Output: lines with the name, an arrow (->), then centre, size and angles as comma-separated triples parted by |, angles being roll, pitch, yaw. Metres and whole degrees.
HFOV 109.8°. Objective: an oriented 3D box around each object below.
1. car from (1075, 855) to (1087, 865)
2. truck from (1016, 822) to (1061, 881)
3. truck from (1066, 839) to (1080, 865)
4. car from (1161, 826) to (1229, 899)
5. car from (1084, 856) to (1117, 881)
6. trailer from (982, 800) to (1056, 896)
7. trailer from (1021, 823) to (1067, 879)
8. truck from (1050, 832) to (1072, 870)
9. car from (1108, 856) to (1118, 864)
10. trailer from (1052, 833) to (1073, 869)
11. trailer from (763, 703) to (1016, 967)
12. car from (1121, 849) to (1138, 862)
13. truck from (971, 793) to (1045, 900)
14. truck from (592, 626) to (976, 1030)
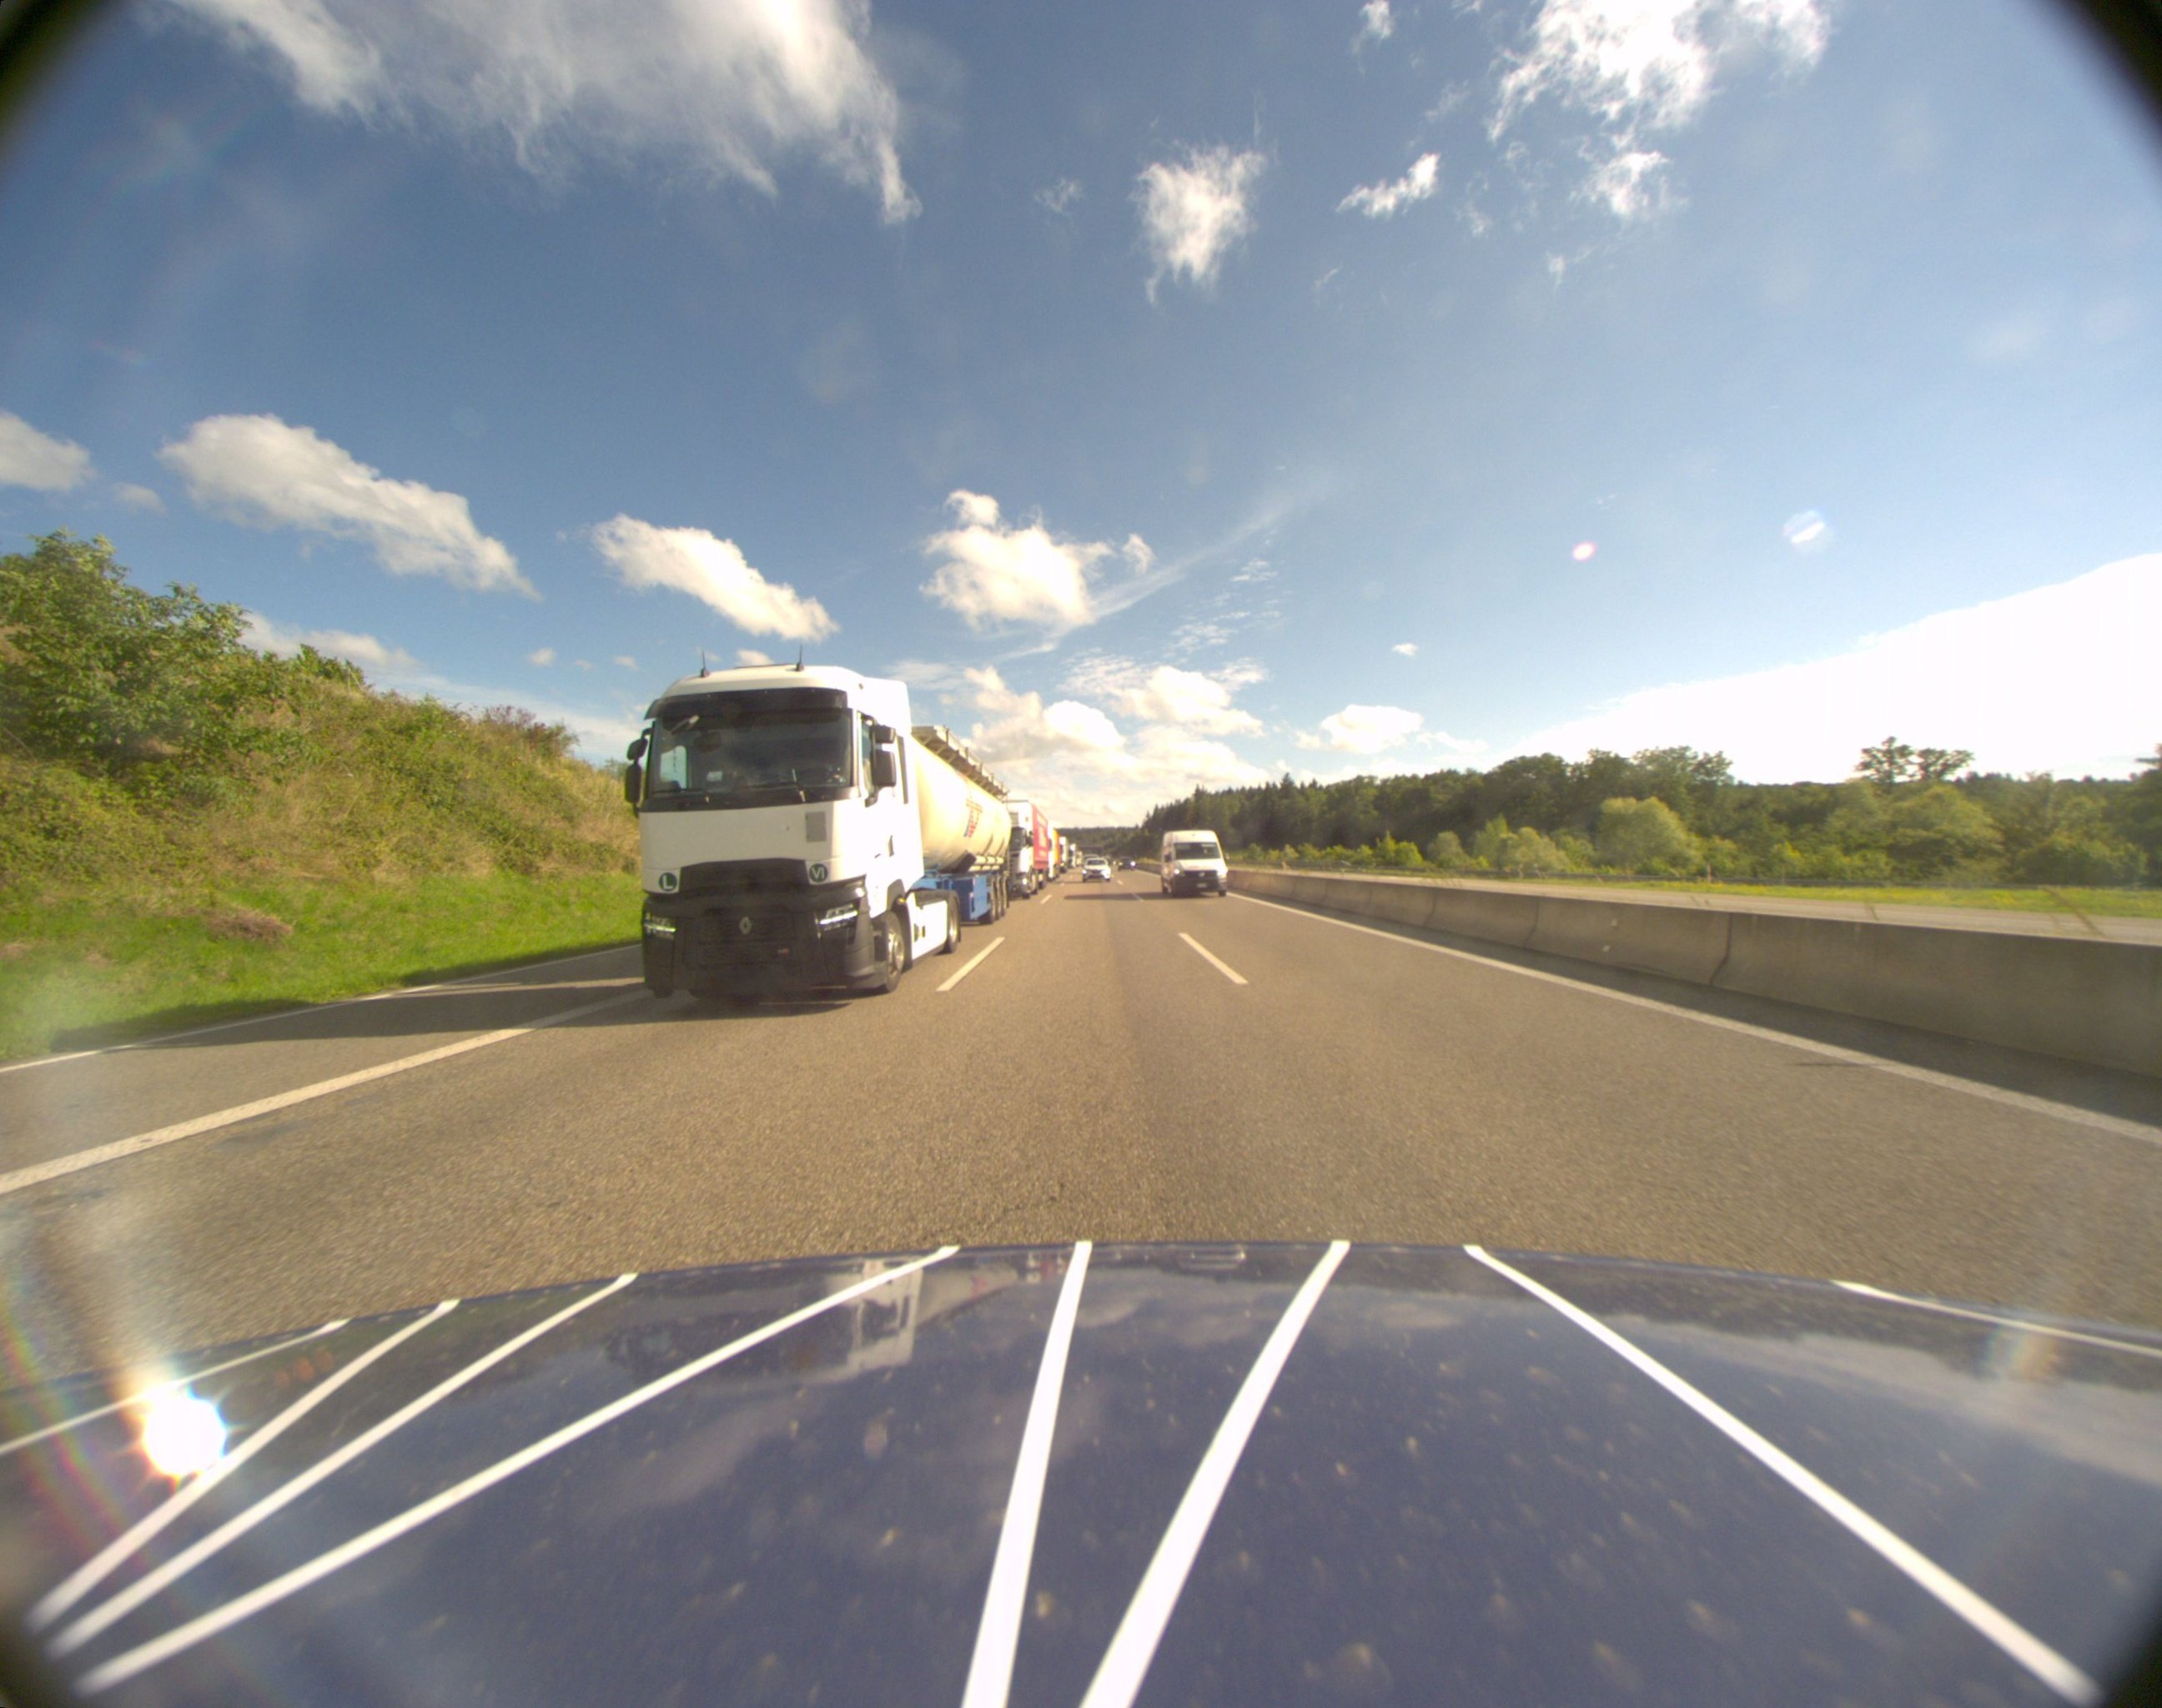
car -> 0.038, 1.185, 157.831 | 2.129, 2.030, 4.697 | 1, 0, 3
truck -> -2.976, -0.169, 54.705 | 2.634, 3.959, 5.956 | -2, 0, 1
truck -> -1.279, -0.371, 126.415 | 1.998, 3.999, 7.344 | -2, 1, 1
car -> 4.414, 0.274, 30.305 | 2.020, 2.584, 6.182 | -1, 1, 3
car -> 1.341, 0.898, 49.729 | 2.026, 1.511, 5.299 | 1, 0, 3
trailer -> -2.815, -0.272, 38.804 | 2.334, 3.974, 14.299 | -1, 0, 1
trailer -> -2.815, -0.230, 62.064 | 2.624, 3.977, 13.366 | -2, 0, 1
truck -> -2.203, -0.362, 84.509 | 1.998, 4.025, 5.869 | -2, 1, 1
car -> 6.146, 1.090, 146.997 | 1.778, 1.451, 4.158 | 1, 1, 2
trailer -> -2.095, -0.380, 89.574 | 1.998, 3.999, 7.344 | -2, 1, 1
trailer -> -3.396, -0.245, 17.144 | 2.652, 3.911, 11.175 | -2, 0, 0
car -> 5.765, 0.153, 90.678 | 1.778, 1.533, 4.158 | 1, 1, 2
truck -> -2.889, -0.255, 31.659 | 2.371, 3.997, 6.106 | -1, 0, 1
truck -> -3.424, -0.233, 11.012 | 2.656, 3.902, 6.942 | -2, 0, 0
